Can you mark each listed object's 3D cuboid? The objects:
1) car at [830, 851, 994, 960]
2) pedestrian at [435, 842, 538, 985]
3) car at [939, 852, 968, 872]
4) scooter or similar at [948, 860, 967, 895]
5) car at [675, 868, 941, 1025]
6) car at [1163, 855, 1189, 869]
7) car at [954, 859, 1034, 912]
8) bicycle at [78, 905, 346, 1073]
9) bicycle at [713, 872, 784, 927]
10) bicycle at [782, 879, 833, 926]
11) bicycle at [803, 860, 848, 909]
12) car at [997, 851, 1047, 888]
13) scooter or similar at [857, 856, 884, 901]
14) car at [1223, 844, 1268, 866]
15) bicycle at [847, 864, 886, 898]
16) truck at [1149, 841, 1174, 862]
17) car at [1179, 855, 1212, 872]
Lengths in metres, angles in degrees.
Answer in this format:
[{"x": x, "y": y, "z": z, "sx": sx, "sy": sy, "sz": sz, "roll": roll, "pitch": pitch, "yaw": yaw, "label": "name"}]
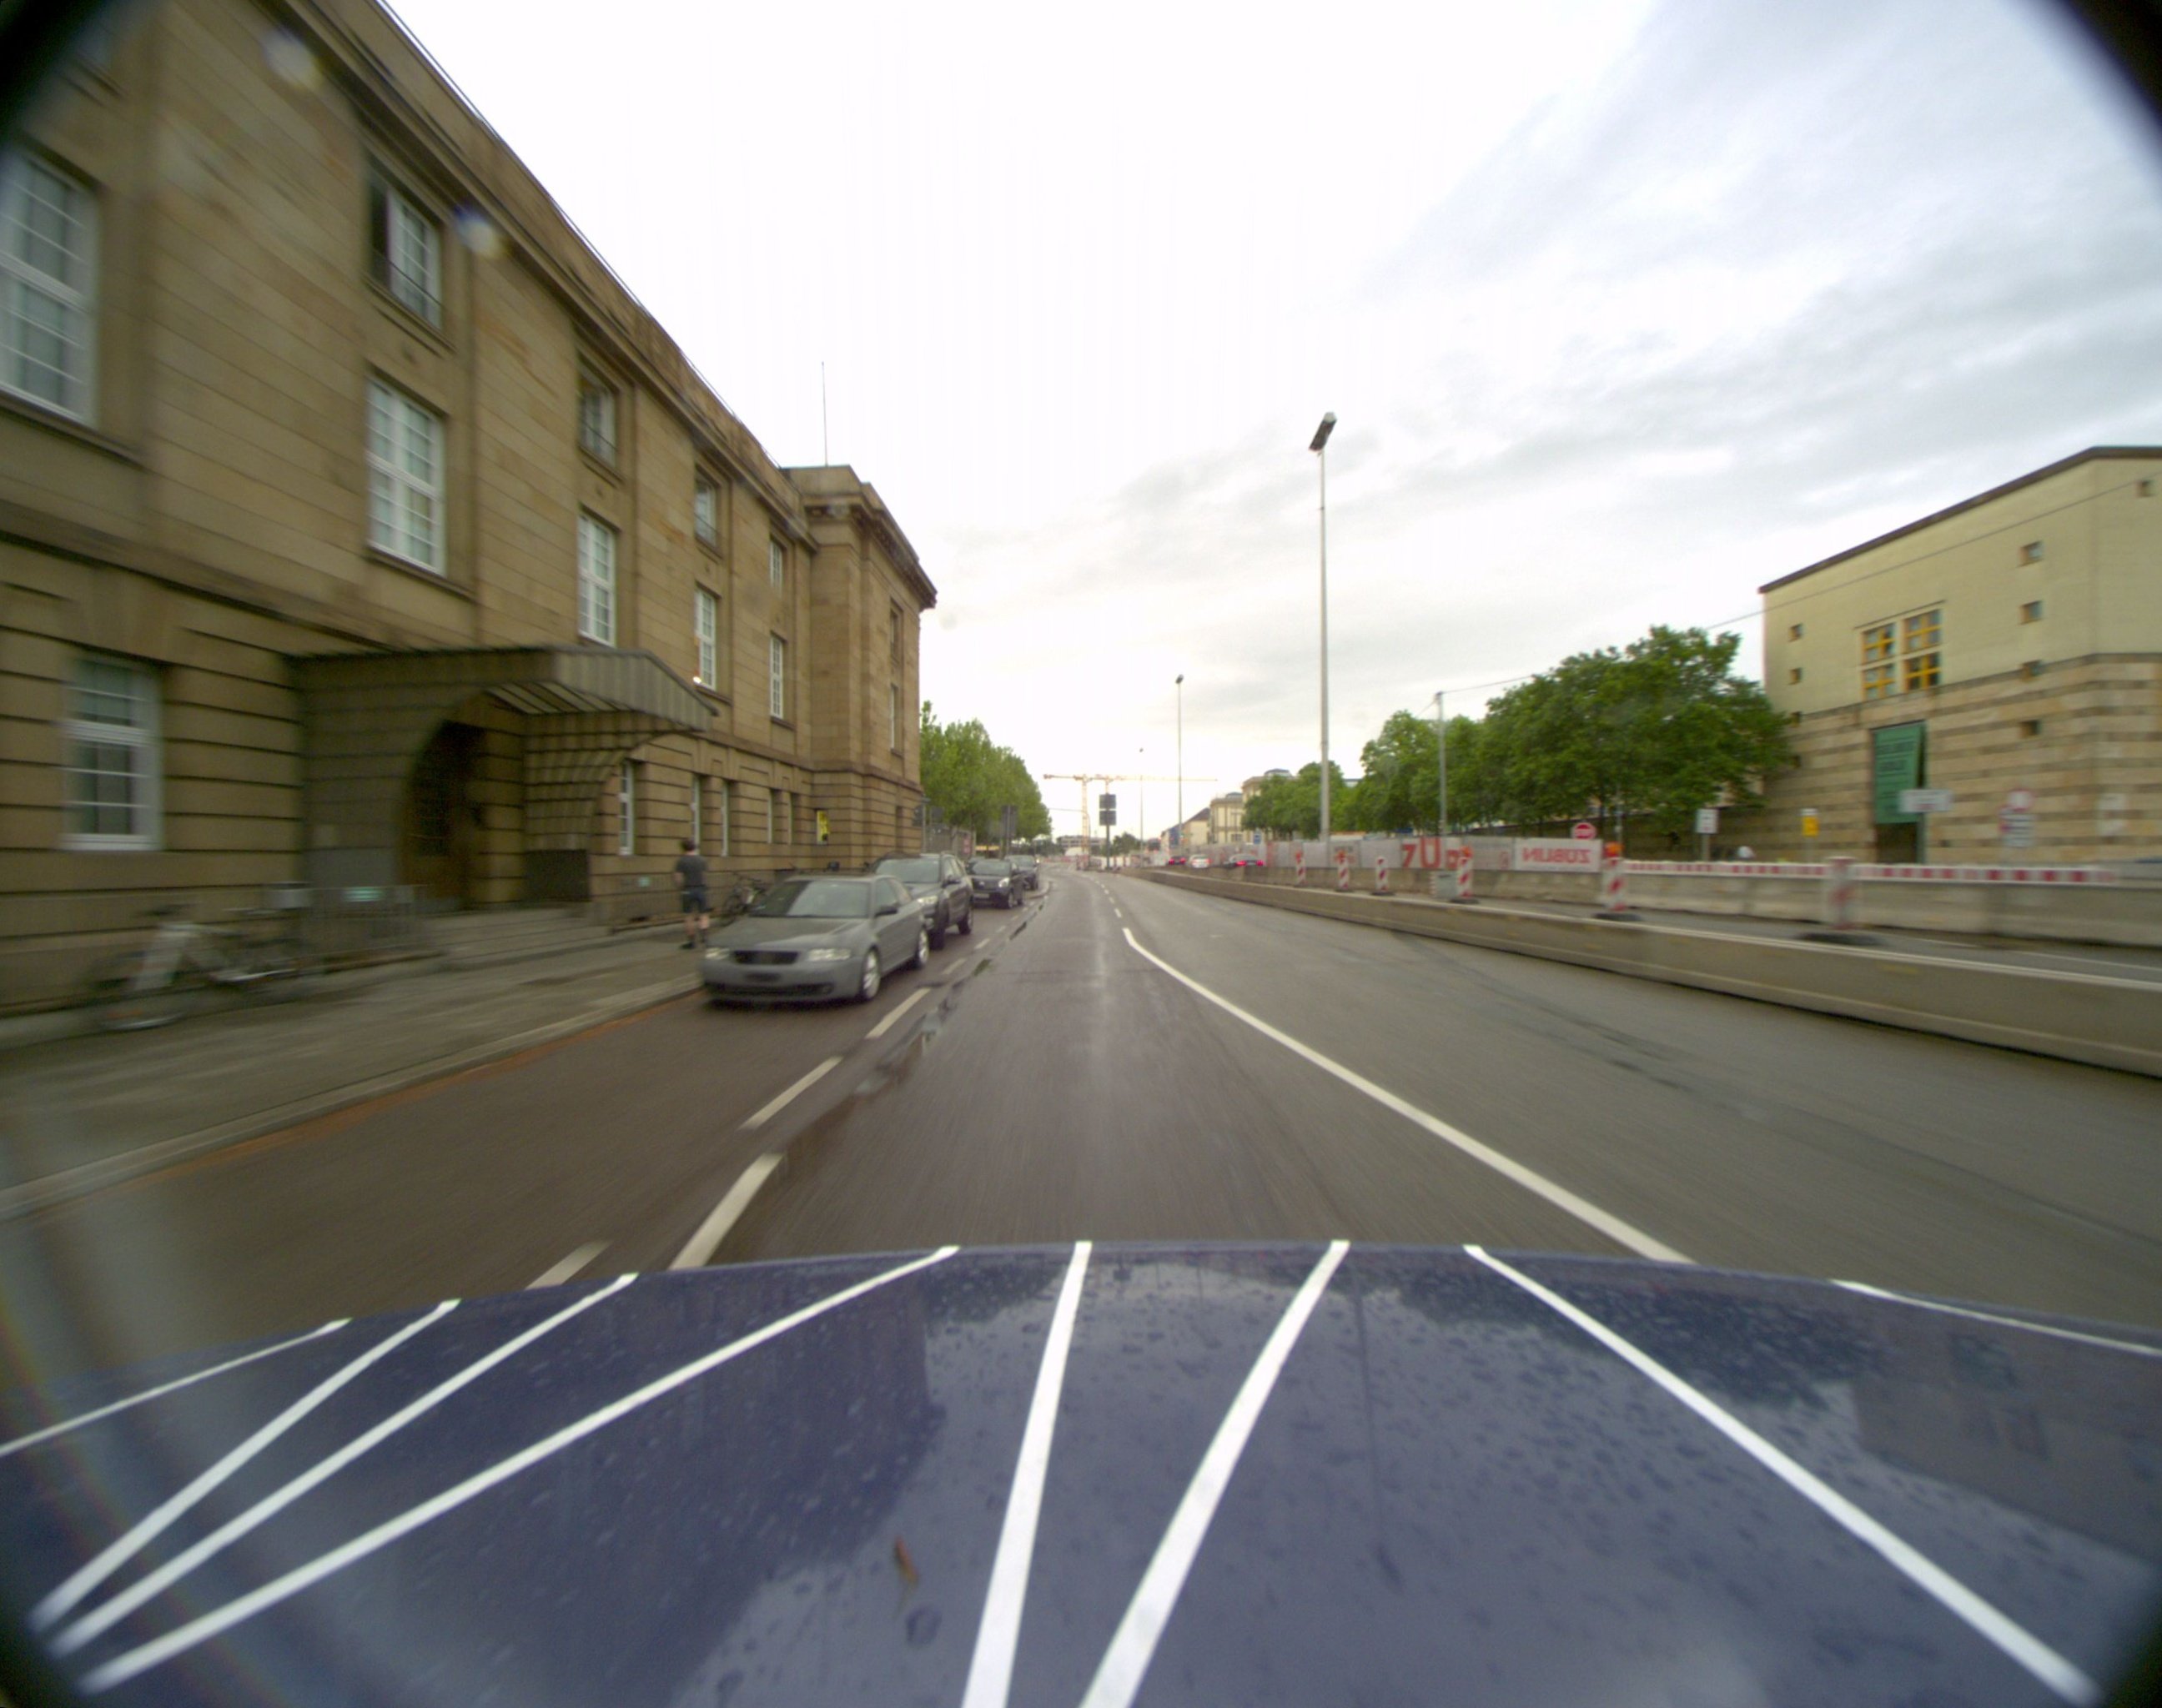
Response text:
[{"x": -3.085, "y": 0.862, "z": 14.866, "sx": 1.998, "sy": 1.771, "sz": 4.189, "roll": -1, "pitch": 1, "yaw": 4, "label": "car"}, {"x": -7.680, "y": 0.744, "z": 9.843, "sx": 0.797, "sy": 1.767, "sz": 0.642, "roll": 2, "pitch": 1, "yaw": 1, "label": "pedestrian"}, {"x": -9.930, "y": 0.598, "z": 59.545, "sx": 1.585, "sy": 1.528, "sz": 3.021, "roll": 0, "pitch": 1, "yaw": 3, "label": "car"}, {"x": -4.657, "y": 0.869, "z": 28.601, "sx": 0.435, "sy": 1.285, "sz": 1.255, "roll": -2, "pitch": 1, "yaw": -22, "label": "scooter or similar"}, {"x": -3.171, "y": 0.998, "z": 9.723, "sx": 1.936, "sy": 1.469, "sz": 3.702, "roll": -1, "pitch": 1, "yaw": 2, "label": "car"}, {"x": 10.878, "y": 0.903, "z": 87.141, "sx": 1.926, "sy": 1.521, "sz": 4.758, "roll": -1, "pitch": 0, "yaw": -6, "label": "car"}, {"x": -2.659, "y": 0.940, "z": 23.980, "sx": 1.762, "sy": 1.406, "sz": 3.153, "roll": 3, "pitch": 1, "yaw": 7, "label": "car"}, {"x": -7.799, "y": 1.141, "z": 6.952, "sx": 0.465, "sy": 1.208, "sz": 1.691, "roll": -1, "pitch": 1, "yaw": 0, "label": "bicycle"}, {"x": -7.103, "y": 0.953, "z": 16.323, "sx": 0.585, "sy": 1.032, "sz": 1.759, "roll": -1, "pitch": 1, "yaw": 5, "label": "bicycle"}, {"x": -6.919, "y": 1.213, "z": 19.293, "sx": 0.714, "sy": 1.045, "sz": 1.740, "roll": -1, "pitch": 1, "yaw": -3, "label": "bicycle"}, {"x": -7.090, "y": 0.832, "z": 21.181, "sx": 0.732, "sy": 1.261, "sz": 1.758, "roll": 0, "pitch": 1, "yaw": -4, "label": "bicycle"}, {"x": -2.667, "y": 0.664, "z": 35.128, "sx": 1.876, "sy": 1.609, "sz": 4.404, "roll": 0, "pitch": 0, "yaw": 1, "label": "car"}, {"x": -6.930, "y": 0.804, "z": 25.075, "sx": 0.414, "sy": 1.409, "sz": 1.268, "roll": 2, "pitch": 1, "yaw": 5, "label": "scooter or similar"}, {"x": 10.388, "y": 0.033, "z": 48.387, "sx": 1.778, "sy": 1.255, "sz": 4.767, "roll": -2, "pitch": 0, "yaw": 0, "label": "car"}, {"x": -7.277, "y": 0.899, "z": 25.851, "sx": 0.419, "sy": 1.044, "sz": 1.773, "roll": -1, "pitch": 1, "yaw": 14, "label": "bicycle"}, {"x": 11.085, "y": -0.309, "z": 105.448, "sx": 2.404, "sy": 2.703, "sz": 7.353, "roll": -1, "pitch": 0, "yaw": -2, "label": "truck"}, {"x": 10.474, "y": 0.870, "z": 69.809, "sx": 2.000, "sy": 1.521, "sz": 3.998, "roll": -1, "pitch": 0, "yaw": -6, "label": "car"}]
